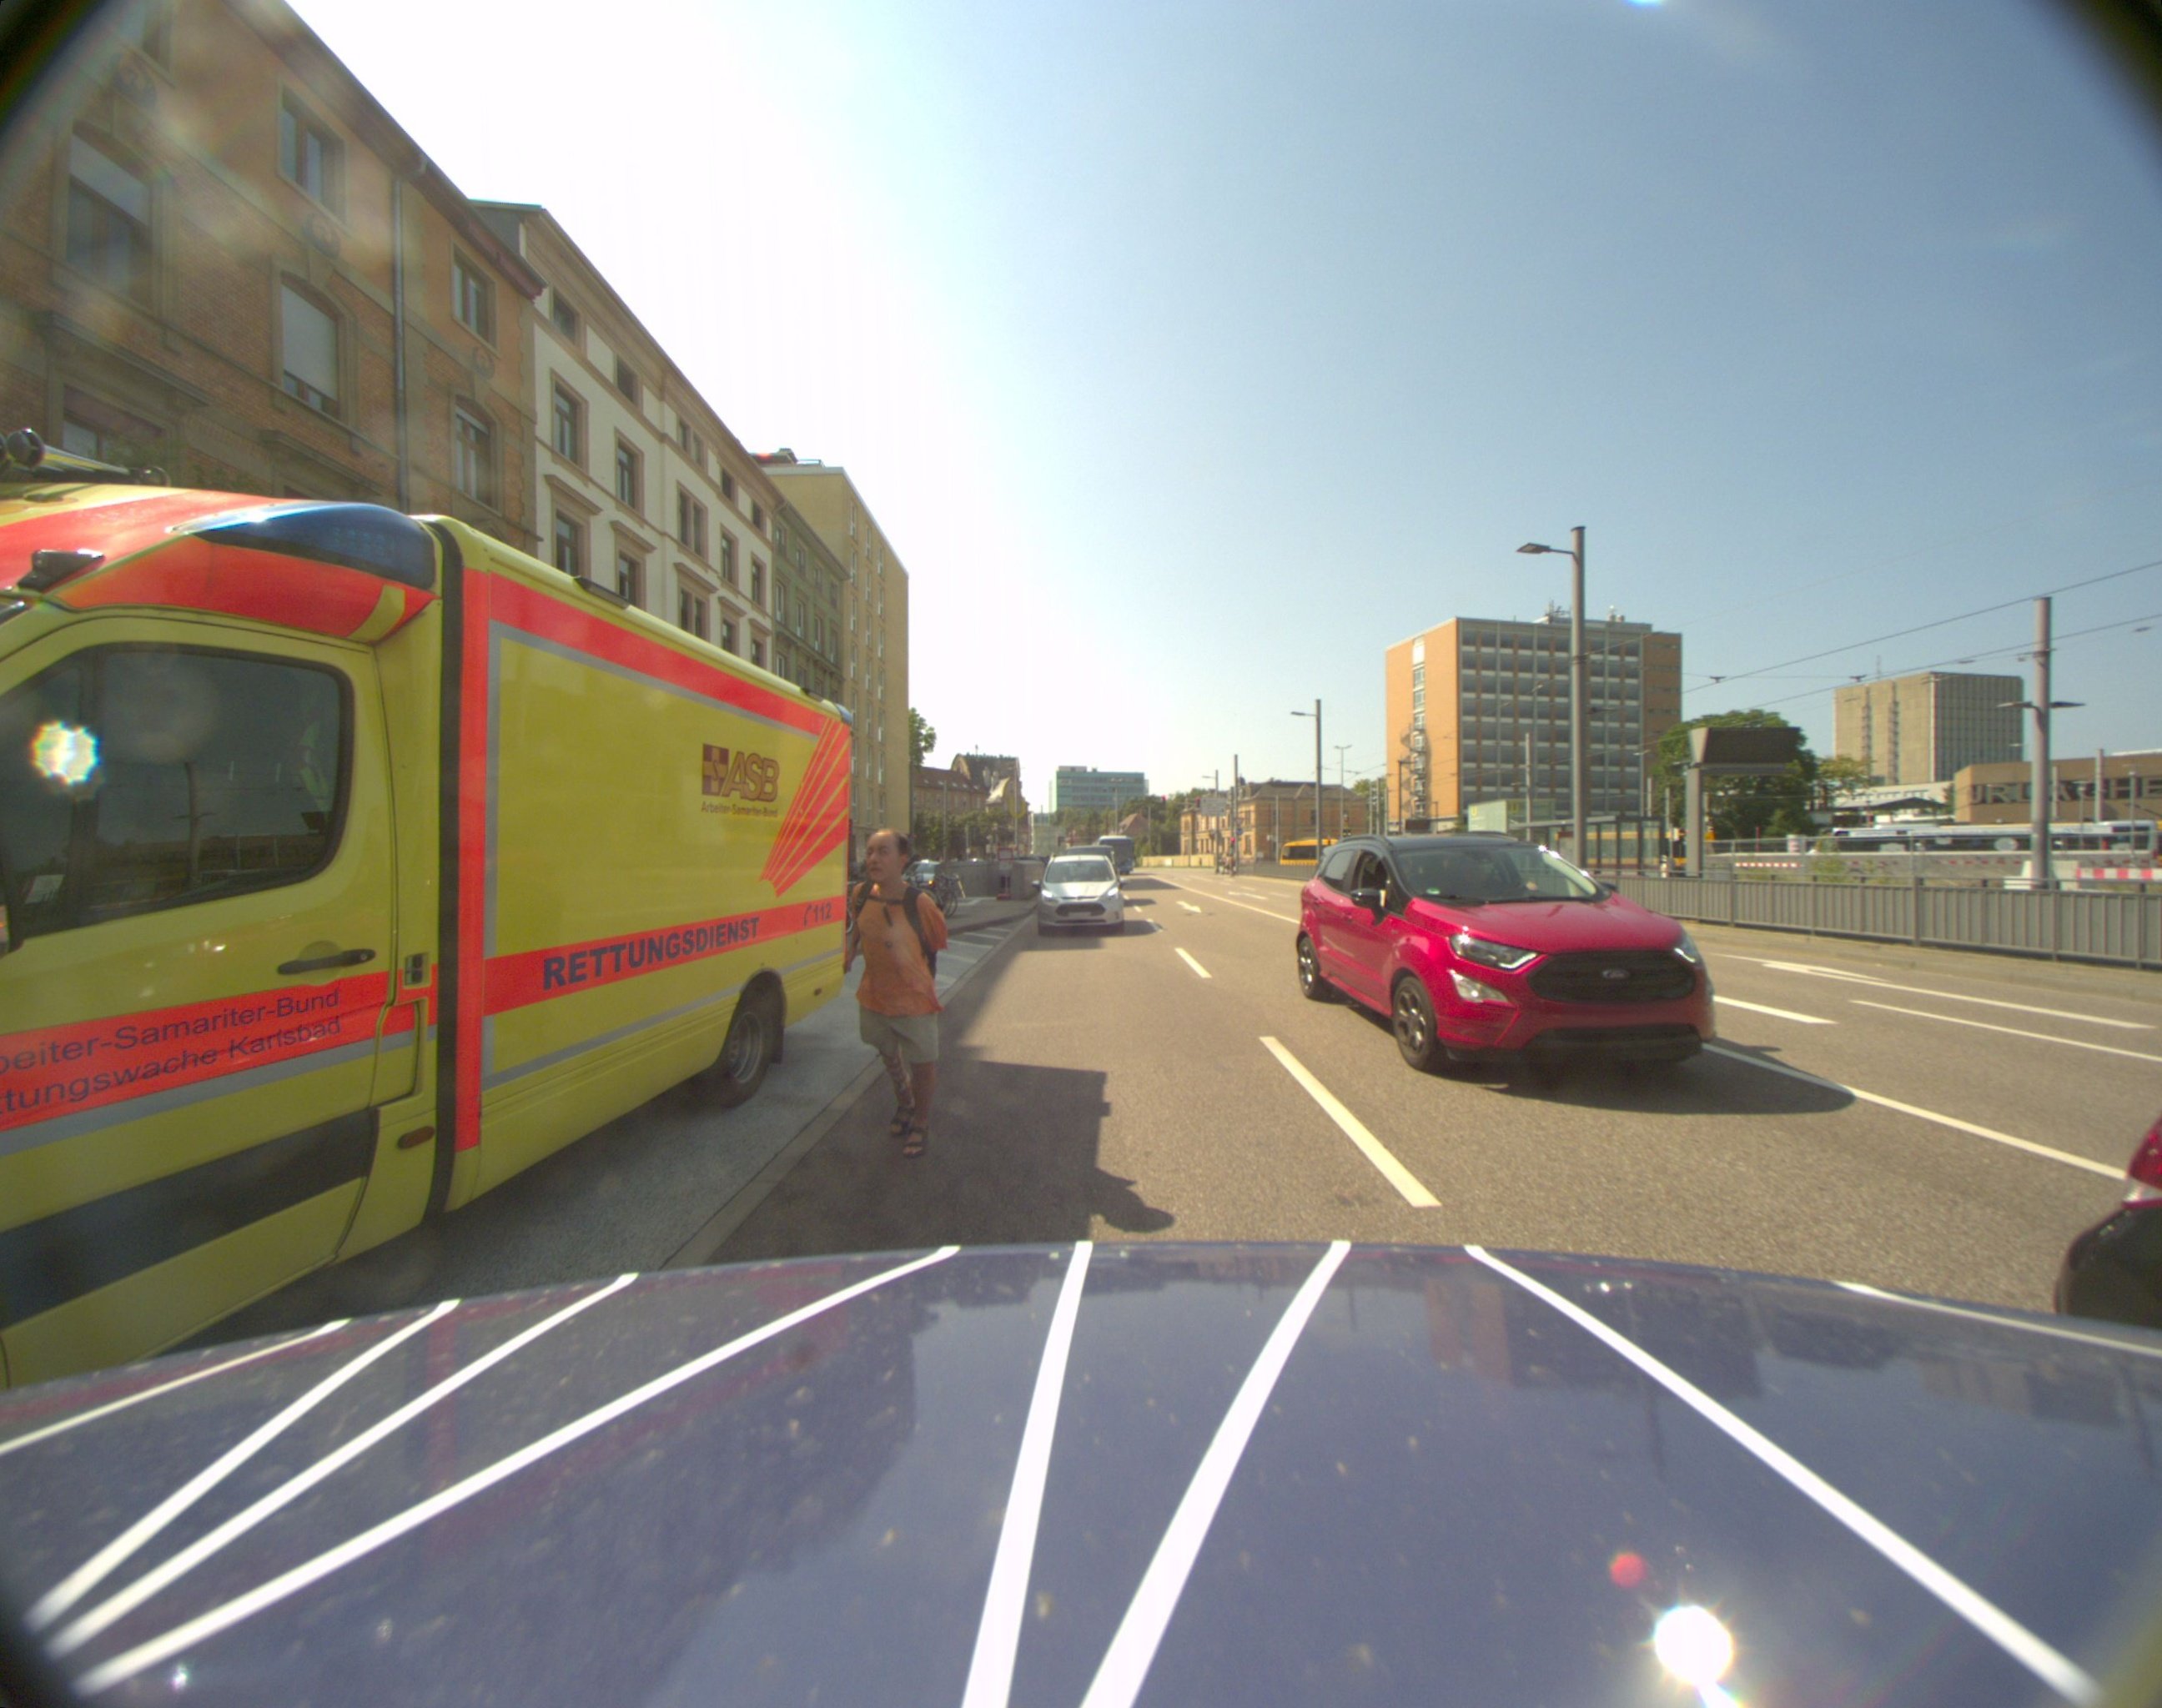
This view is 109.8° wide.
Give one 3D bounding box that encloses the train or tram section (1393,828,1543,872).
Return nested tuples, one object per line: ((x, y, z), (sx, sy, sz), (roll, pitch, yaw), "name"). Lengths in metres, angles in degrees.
((35.597, -0.353, 70.606), (12.331, 3.743, 2.004), (0, 0, 44), "train or tram section")

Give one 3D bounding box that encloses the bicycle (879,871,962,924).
((-3.829, 1.032, 18.164), (1.842, 1.196, 0.434), (-2, 1, 1), "bicycle")

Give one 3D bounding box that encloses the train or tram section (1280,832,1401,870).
((26.774, -0.314, 79.243), (12.331, 3.743, 2.004), (0, 0, 44), "train or tram section")

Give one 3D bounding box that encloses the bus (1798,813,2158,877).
((51.655, -0.364, 44.890), (13.371, 3.275, 3.357), (-2, 1, 45), "bus")

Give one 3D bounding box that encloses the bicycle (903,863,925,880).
((-9.258, 0.956, 42.111), (0.721, 0.948, 2.001), (-1, 0, 1), "bicycle")

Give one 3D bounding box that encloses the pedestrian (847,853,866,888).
((-10.698, 0.775, 36.225), (0.645, 1.619, 0.796), (1, 1, -1), "pedestrian")

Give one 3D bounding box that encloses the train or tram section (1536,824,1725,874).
((44.398, -0.351, 61.988), (12.331, 3.743, 2.004), (0, 0, 44), "train or tram section")

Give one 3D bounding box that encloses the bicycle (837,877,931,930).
((-4.243, 1.070, 16.451), (1.842, 1.054, 0.657), (-2, 1, 1), "bicycle")

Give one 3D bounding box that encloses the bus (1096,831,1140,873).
((2.941, -0.189, 64.077), (2.920, 3.119, 12.343), (-2, 0, 0), "bus")

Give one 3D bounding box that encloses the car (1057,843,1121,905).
((0.294, 0.625, 26.731), (1.998, 1.953, 4.815), (-1, 0, 1), "car")

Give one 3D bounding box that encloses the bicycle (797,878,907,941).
((-4.263, 1.024, 14.211), (1.807, 1.069, 0.699), (-2, 1, 0), "bicycle")

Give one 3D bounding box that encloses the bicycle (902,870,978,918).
((-3.721, 1.052, 20.140), (1.841, 1.196, 0.637), (-2, 1, 1), "bicycle")

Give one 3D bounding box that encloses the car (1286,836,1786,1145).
((2.962, 0.723, 6.035), (1.634, 1.611, 3.968), (-2, 0, 1), "car")

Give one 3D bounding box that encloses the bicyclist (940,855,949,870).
((-17.866, 1.153, 99.151), (0.857, 1.891, 0.665), (-2, 1, 31), "bicyclist")

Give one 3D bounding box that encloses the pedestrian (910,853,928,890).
((-7.810, 0.844, 36.616), (0.688, 1.748, 0.797), (1, 1, 2), "pedestrian")

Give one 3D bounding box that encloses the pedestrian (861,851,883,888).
((-9.945, 0.712, 36.190), (0.772, 1.724, 0.881), (1, 1, -1), "pedestrian")

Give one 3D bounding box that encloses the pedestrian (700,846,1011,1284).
((-0.994, 0.859, 3.706), (0.965, 1.730, 1.240), (-2, -1, 10), "pedestrian")

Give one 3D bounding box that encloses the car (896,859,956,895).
((-6.684, 0.949, 33.083), (1.666, 1.418, 3.934), (2, 0, 1), "car")

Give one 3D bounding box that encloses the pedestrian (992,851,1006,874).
((-5.836, 0.618, 53.999), (0.644, 1.619, 0.798), (1, 1, 23), "pedestrian")

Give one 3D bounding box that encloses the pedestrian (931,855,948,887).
((-7.205, 0.860, 38.806), (0.645, 1.619, 0.797), (1, 1, 6), "pedestrian")

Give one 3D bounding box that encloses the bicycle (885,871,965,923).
((-3.808, 1.036, 18.600), (1.842, 1.196, 0.434), (-2, 1, 1), "bicycle")

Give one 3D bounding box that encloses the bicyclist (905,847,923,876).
((-9.268, 0.433, 42.098), (0.721, 1.577, 1.103), (-1, 0, 1), "bicyclist")

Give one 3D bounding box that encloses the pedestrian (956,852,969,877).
((-7.718, 0.669, 49.577), (0.645, 1.619, 0.797), (1, 1, 5), "pedestrian")

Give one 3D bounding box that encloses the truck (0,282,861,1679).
((-3.189, 0.229, 3.070), (2.333, 2.754, 6.339), (2, 1, 4), "truck")

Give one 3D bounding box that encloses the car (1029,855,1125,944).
((-0.042, 0.847, 16.228), (1.728, 1.579, 4.000), (-3, 0, 1), "car")

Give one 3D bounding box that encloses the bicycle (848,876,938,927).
((-4.220, 1.069, 17.141), (1.842, 1.050, 0.657), (-2, 1, 1), "bicycle")

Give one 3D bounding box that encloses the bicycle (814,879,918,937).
((-4.254, 1.052, 15.086), (1.842, 1.054, 0.657), (-2, 1, 1), "bicycle")

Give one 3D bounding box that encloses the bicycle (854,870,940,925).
((-4.279, 1.002, 17.759), (1.842, 1.196, 0.549), (-2, 1, 1), "bicycle")

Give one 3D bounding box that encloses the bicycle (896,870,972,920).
((-3.777, 1.049, 19.540), (1.842, 1.196, 0.434), (-2, 1, 1), "bicycle")

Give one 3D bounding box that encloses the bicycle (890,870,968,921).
((-3.800, 1.035, 19.061), (1.842, 1.212, 0.434), (-2, 1, 1), "bicycle")

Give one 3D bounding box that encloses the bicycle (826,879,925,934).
((-4.246, 1.076, 15.784), (1.842, 1.047, 0.657), (-2, 1, 1), "bicycle")
